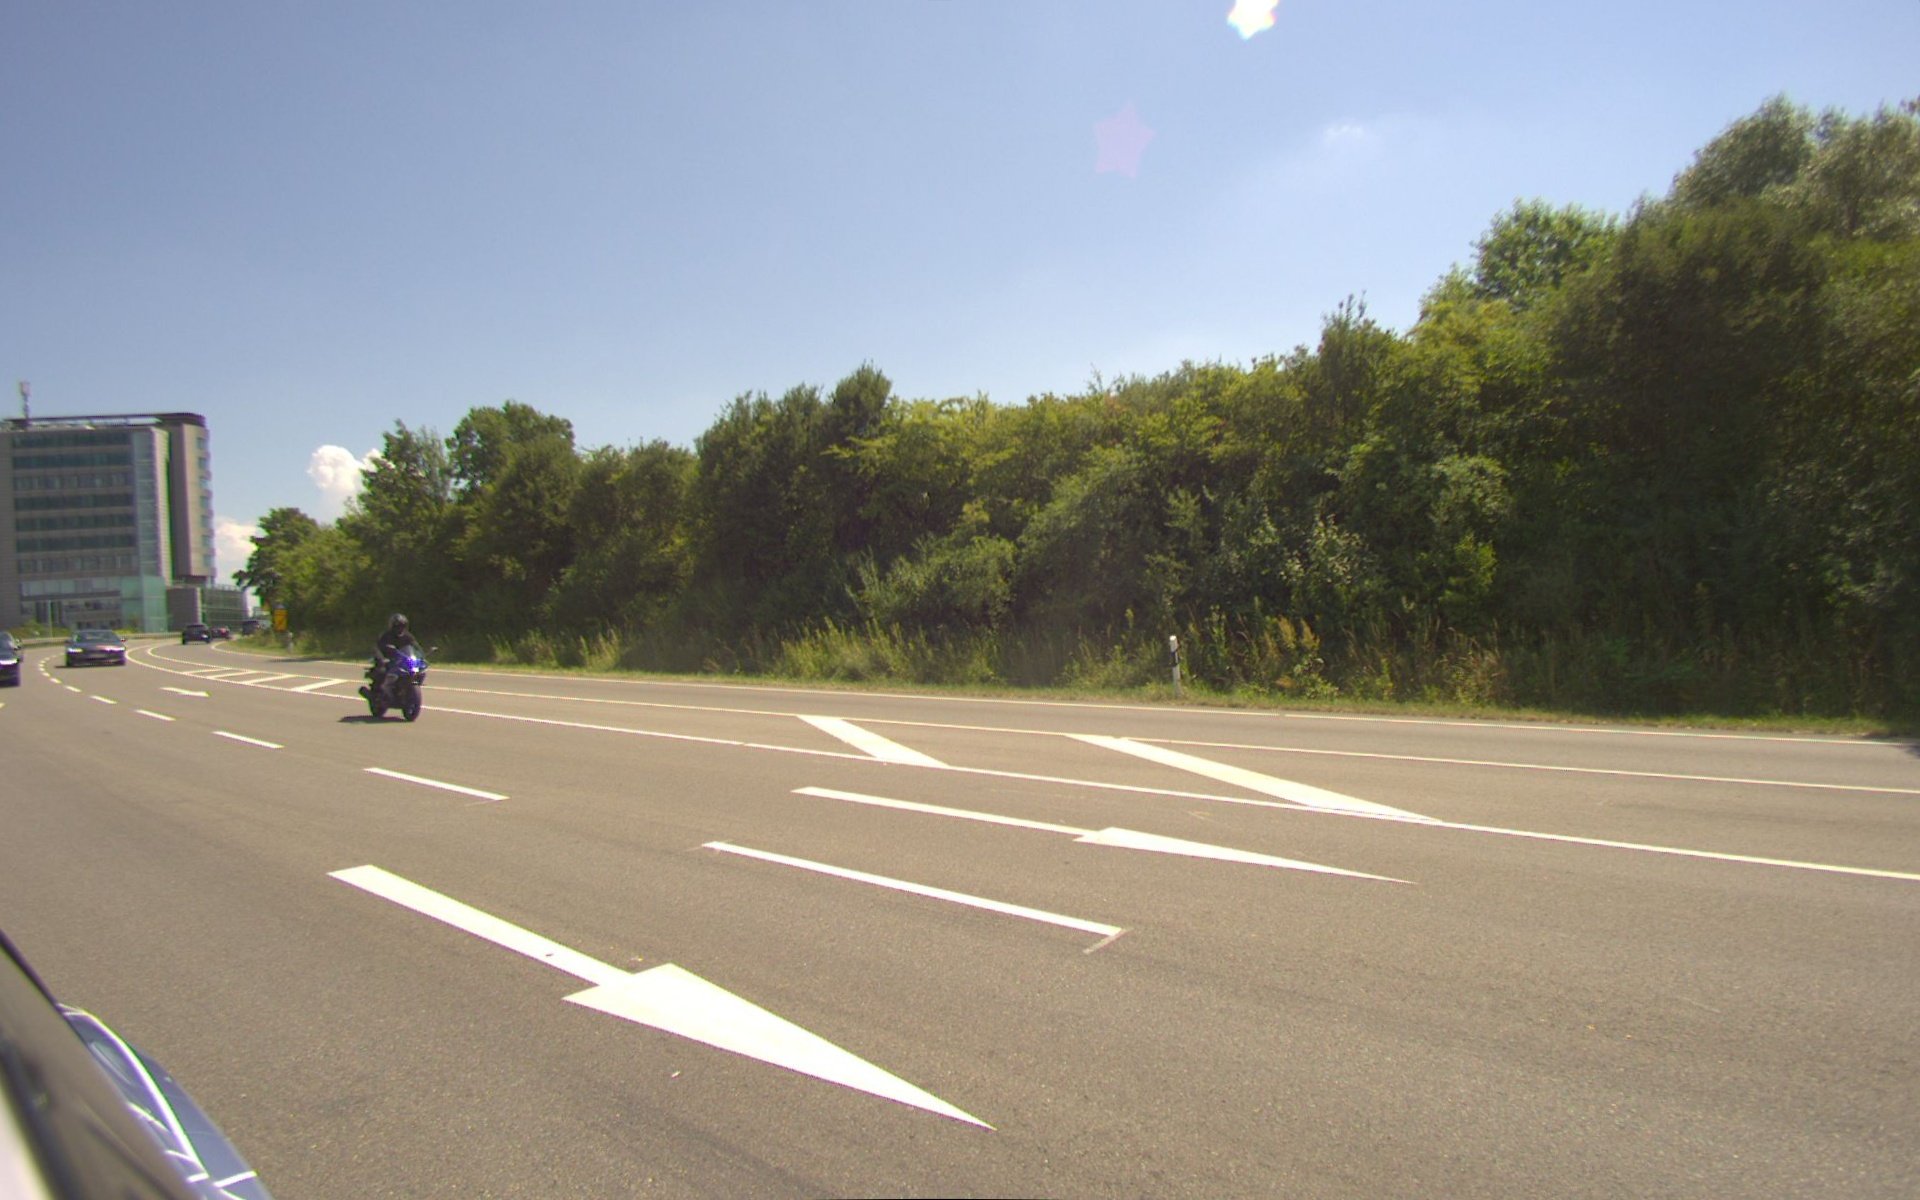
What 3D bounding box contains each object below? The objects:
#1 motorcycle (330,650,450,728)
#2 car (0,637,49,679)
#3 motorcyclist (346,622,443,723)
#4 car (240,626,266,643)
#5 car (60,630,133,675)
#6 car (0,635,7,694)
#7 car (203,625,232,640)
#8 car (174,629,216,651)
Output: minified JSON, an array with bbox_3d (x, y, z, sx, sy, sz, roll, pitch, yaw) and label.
[{"bbox_3d":[-8.949,1.366,15.864,2.065,1.147,0.727,-2,-2,31],"label":"motorcycle"},{"bbox_3d":[-43.693,2.711,46.900,1.905,1.598,4.186,-6,-1,-40],"label":"car"},{"bbox_3d":[-8.809,1.104,15.768,1.157,1.500,0.852,-2,-2,31],"label":"motorcyclist"},{"bbox_3d":[-86.104,4.213,123.316,1.966,1.909,5.120,-1,-1,-28],"label":"car"},{"bbox_3d":[-34.769,2.066,40.710,2.086,1.603,4.456,-2,0,-42],"label":"car"},{"bbox_3d":[-26.972,1.781,27.298,1.755,1.518,4.564,-1,-2,-44],"label":"car"},{"bbox_3d":[-75.210,3.306,102.555,1.791,1.453,4.658,0,-1,-29],"label":"car"},{"bbox_3d":[-61.848,3.217,81.871,1.965,1.605,4.697,-1,-1,-28],"label":"car"}]
